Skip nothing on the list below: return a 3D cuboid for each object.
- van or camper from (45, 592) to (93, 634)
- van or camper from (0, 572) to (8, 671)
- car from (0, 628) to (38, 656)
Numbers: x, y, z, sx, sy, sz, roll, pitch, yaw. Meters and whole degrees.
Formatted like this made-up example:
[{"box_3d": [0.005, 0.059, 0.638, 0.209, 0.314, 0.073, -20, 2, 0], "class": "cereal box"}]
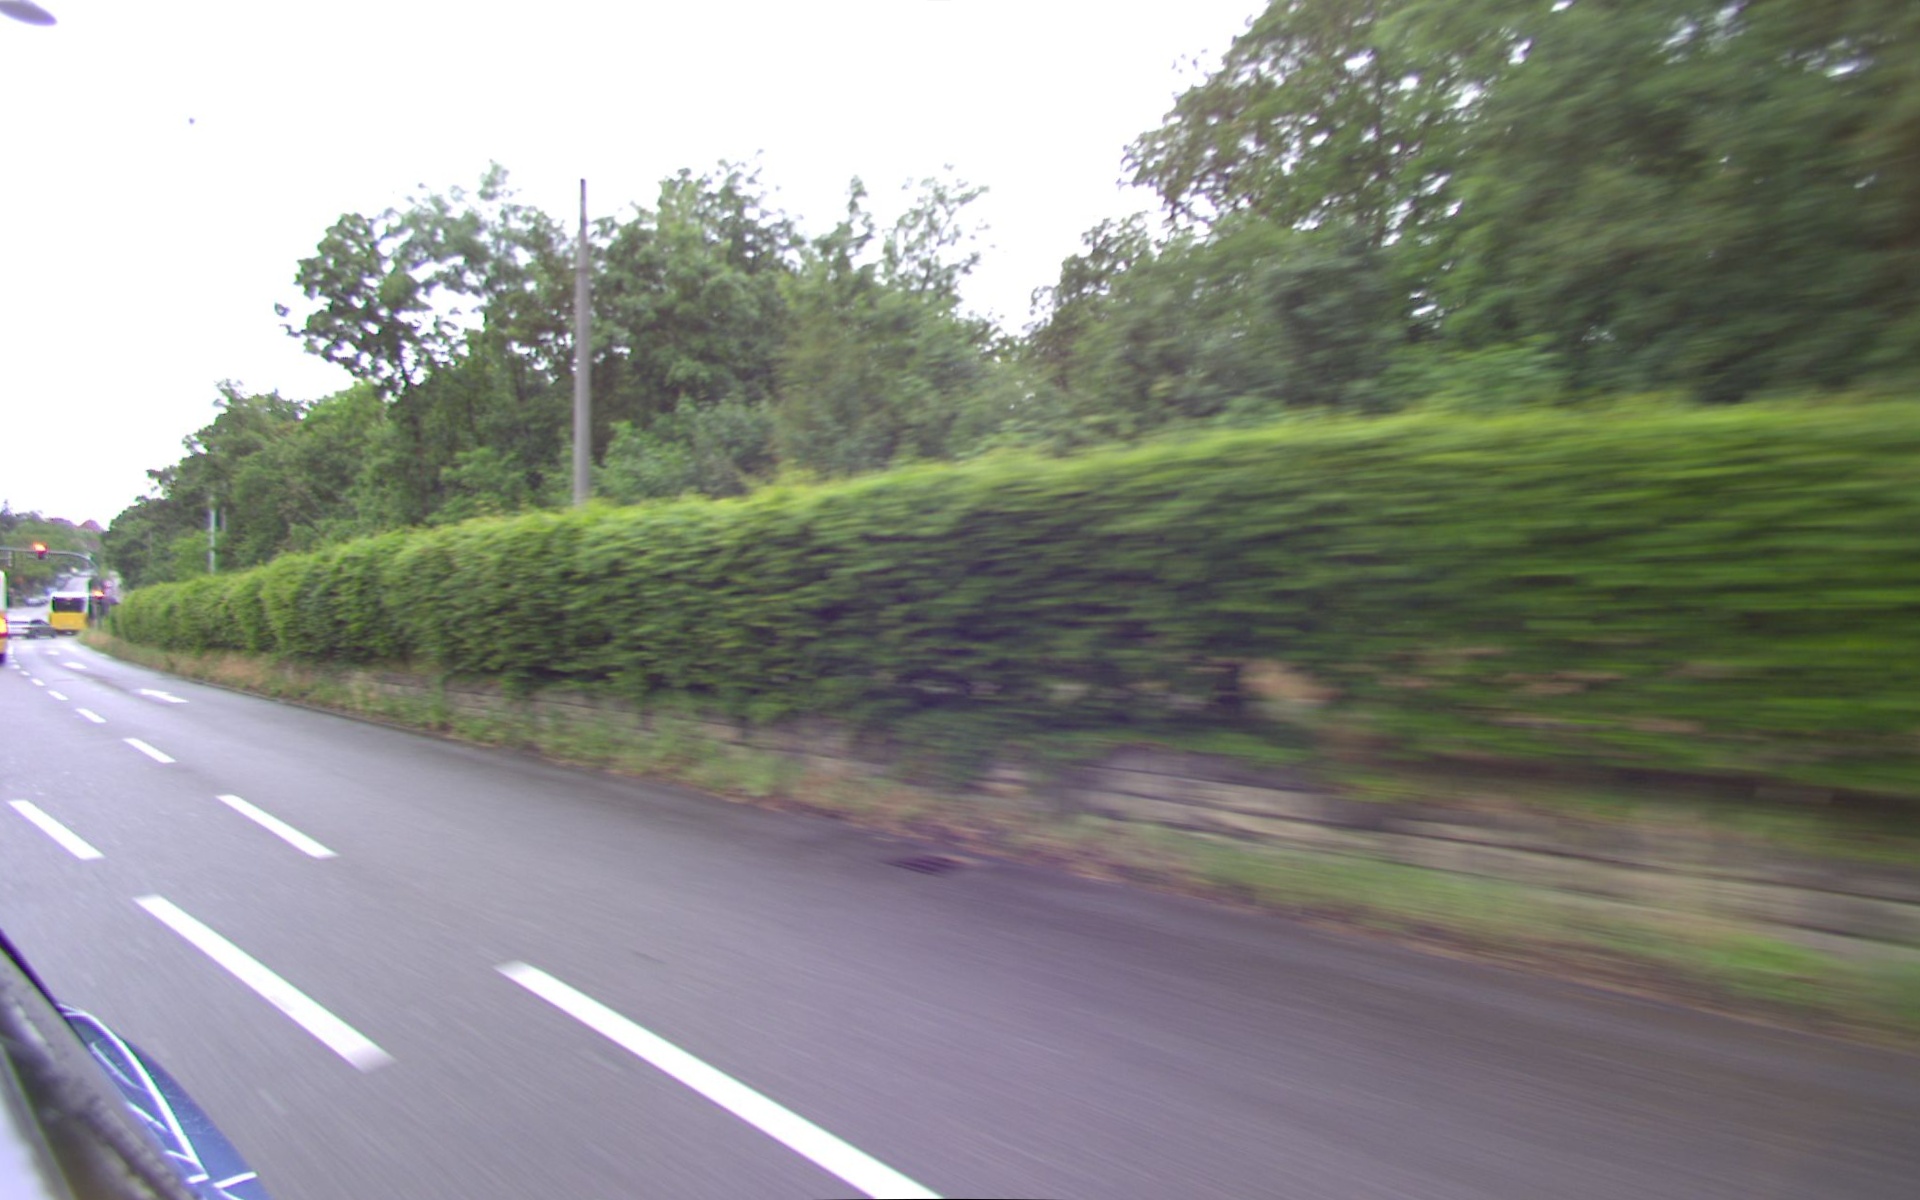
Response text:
[{"box_3d": [-72.869, 1.020, 82.696, 2.698, 3.251, 6.982, -1, 0, -43], "class": "van or camper"}, {"box_3d": [-34.195, 0.727, 34.240, 2.823, 3.202, 6.855, -1, 0, -44], "class": "van or camper"}, {"box_3d": [-67.218, 2.972, 72.293, 1.757, 1.904, 3.796, -1, 0, -39], "class": "car"}]
